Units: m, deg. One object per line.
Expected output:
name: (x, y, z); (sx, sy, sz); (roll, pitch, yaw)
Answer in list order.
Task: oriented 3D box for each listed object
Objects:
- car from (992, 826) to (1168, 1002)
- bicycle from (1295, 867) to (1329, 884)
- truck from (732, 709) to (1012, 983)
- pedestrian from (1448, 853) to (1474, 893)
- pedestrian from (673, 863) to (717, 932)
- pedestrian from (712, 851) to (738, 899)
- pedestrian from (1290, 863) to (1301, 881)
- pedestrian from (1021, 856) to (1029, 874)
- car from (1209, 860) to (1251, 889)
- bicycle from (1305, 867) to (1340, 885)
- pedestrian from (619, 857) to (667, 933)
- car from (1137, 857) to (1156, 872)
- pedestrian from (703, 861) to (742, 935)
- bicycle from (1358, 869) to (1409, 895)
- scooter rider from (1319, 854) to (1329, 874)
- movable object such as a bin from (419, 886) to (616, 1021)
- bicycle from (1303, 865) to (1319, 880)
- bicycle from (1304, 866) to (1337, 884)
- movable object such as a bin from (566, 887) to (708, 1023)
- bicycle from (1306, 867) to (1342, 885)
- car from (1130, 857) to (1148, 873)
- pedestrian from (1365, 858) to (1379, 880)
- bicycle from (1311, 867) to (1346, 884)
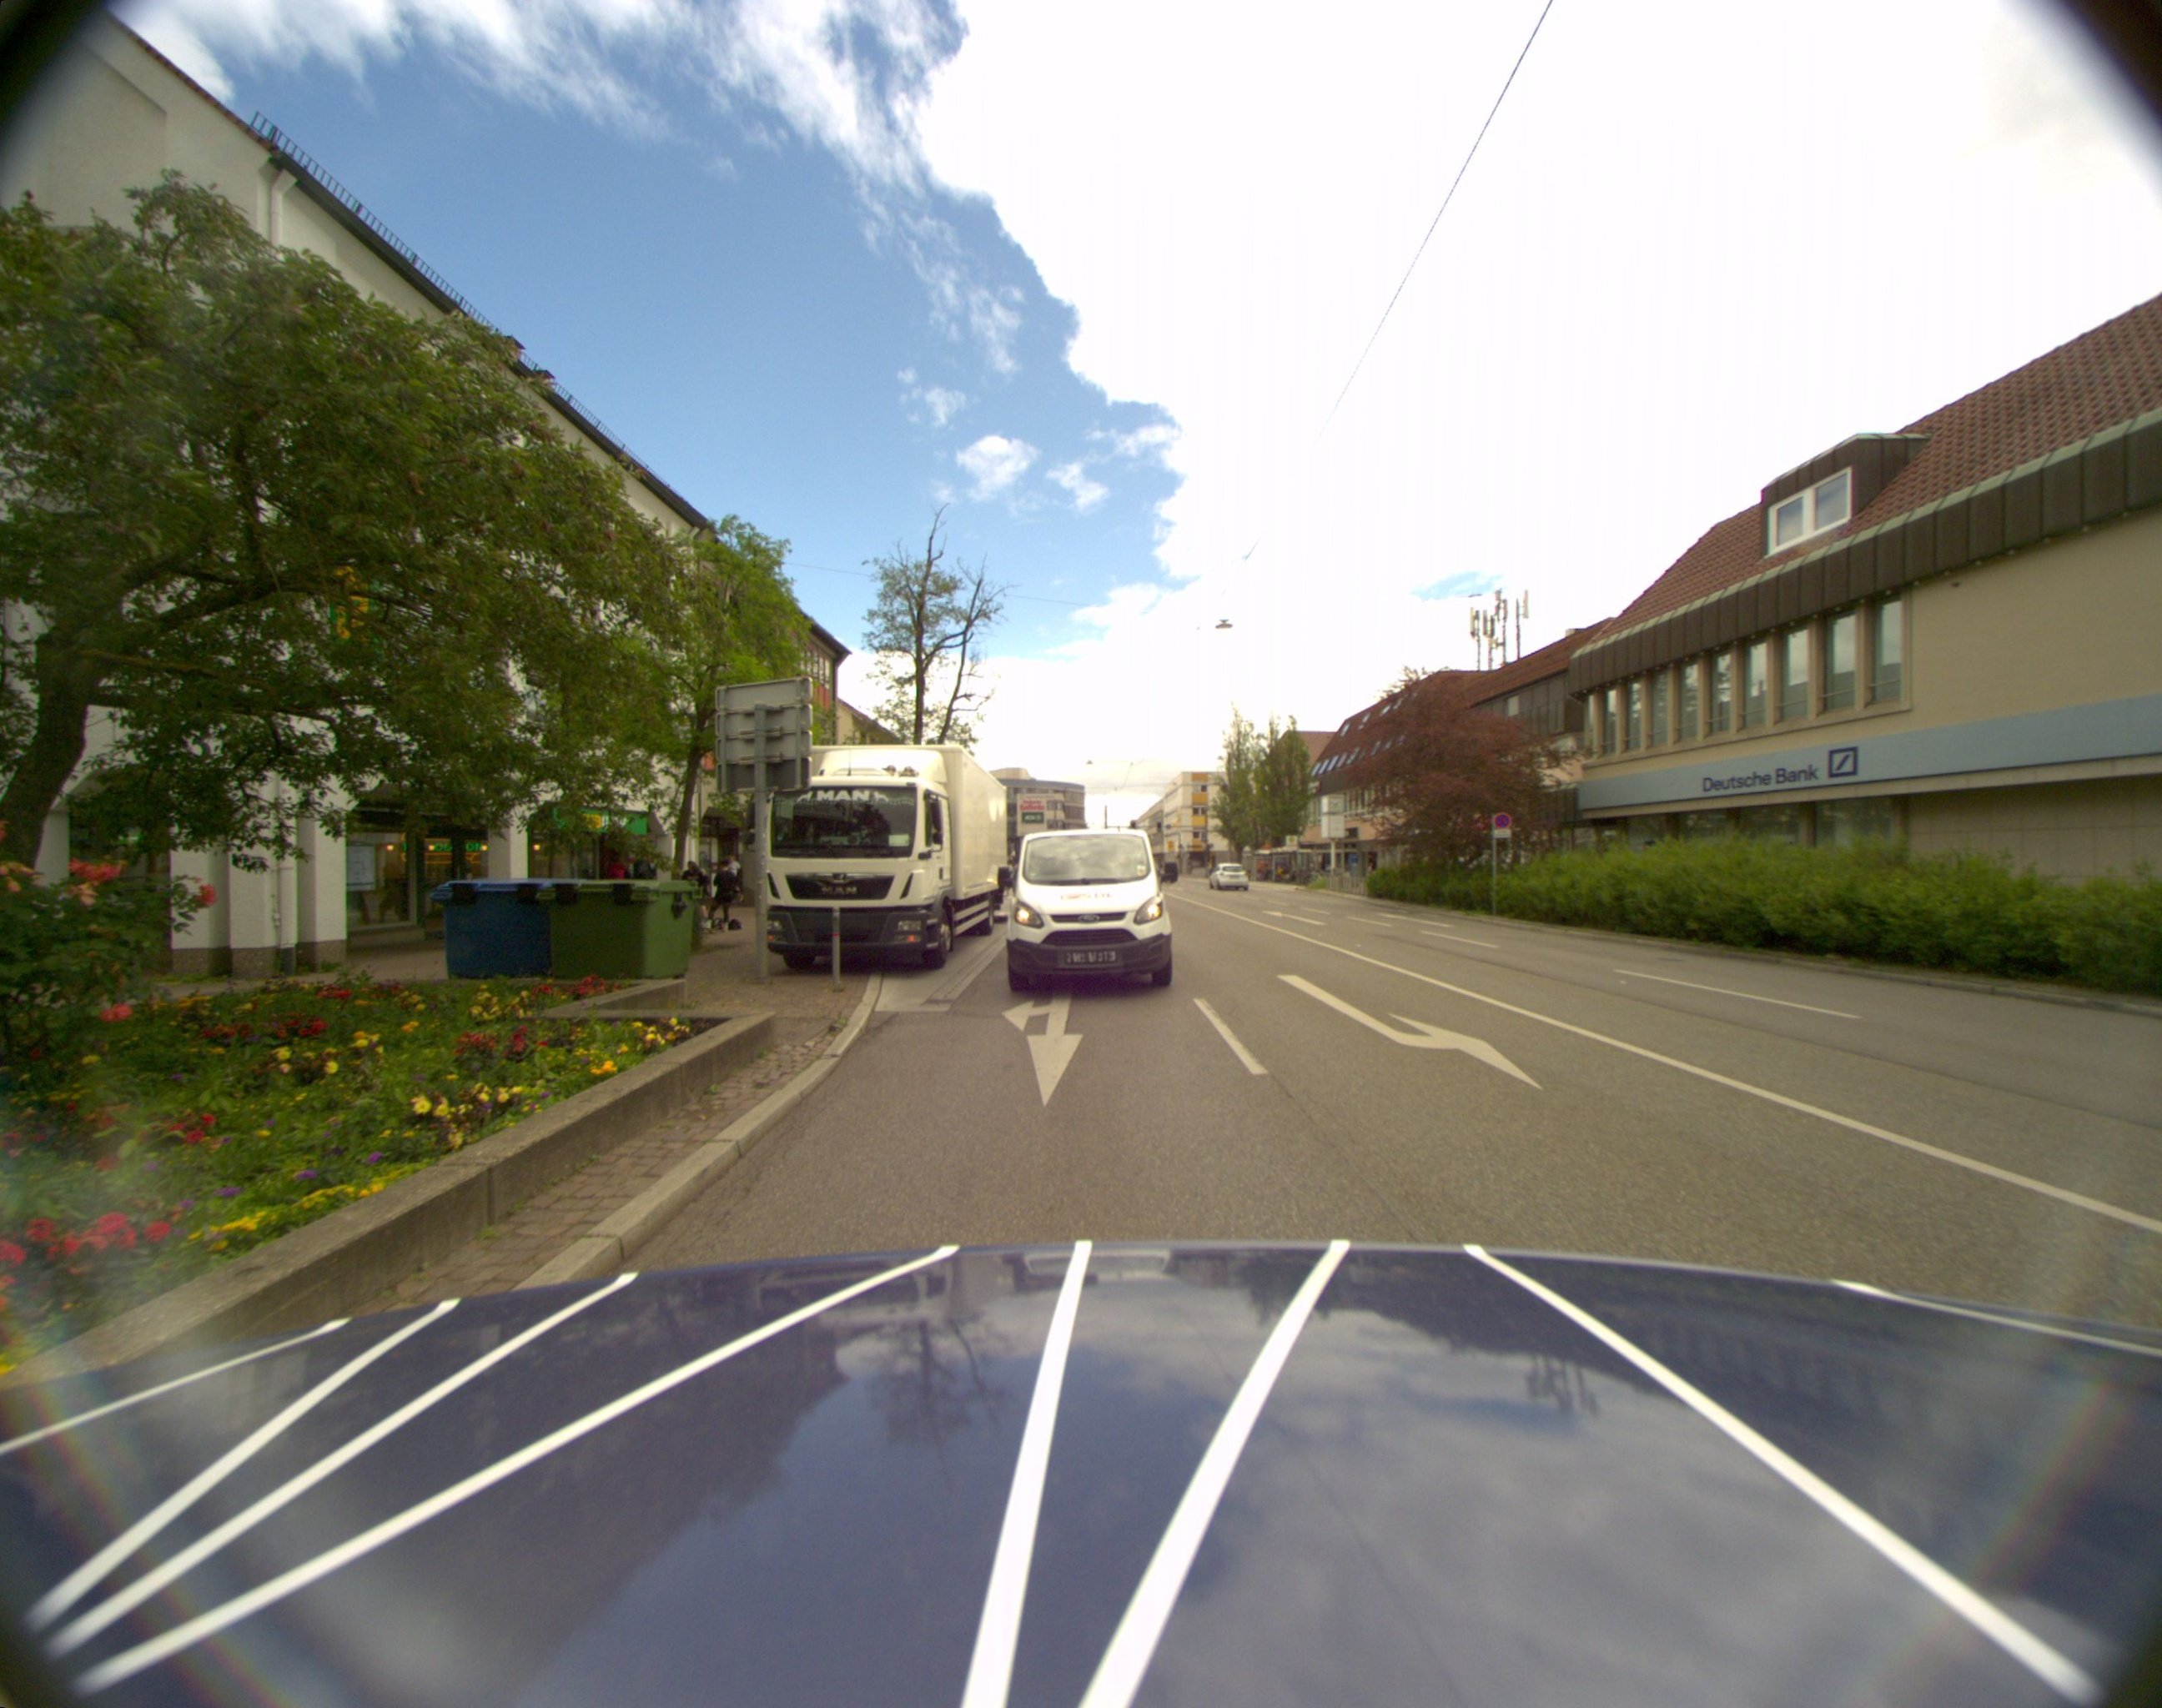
car: (0.128, 0.724, 11.252); (1.998, 2.001, 5.001); (-1, -1, 3)
bicycle: (15.307, 1.398, 50.386); (2.024, 1.084, 0.649); (0, 0, -5)
truck: (-3.157, -0.060, 14.745); (2.695, 3.540, 9.767); (0, 0, 0)
pedestrian: (17.470, 0.855, 34.970); (0.727, 1.753, 0.756); (-5, 0, 4)
pedestrian: (-9.044, 1.003, 17.828); (0.745, 1.592, 0.574); (0, 0, -3)
pedestrian: (-12.034, 0.707, 25.662); (0.747, 1.592, 0.573); (0, 0, -28)
pedestrian: (16.239, 1.351, 57.523); (0.713, 1.356, 0.588); (-1, -1, 2)
pedestrian: (-5.173, 1.045, 70.512); (0.613, 1.668, 0.615); (1, 0, 2)
car: (8.675, 1.183, 44.519); (1.644, 1.558, 3.927); (2, 0, 0)
bicycle: (15.272, 1.375, 48.124); (2.024, 1.084, 0.648); (0, 0, -9)
pedestrian: (-9.402, 0.863, 16.322); (0.574, 1.592, 0.746); (0, 0, 1)
car: (8.251, 1.329, 96.586); (2.074, 1.728, 4.693); (2, 0, 1)
pedestrian: (-7.952, 0.955, 16.859); (0.747, 1.592, 0.573); (0, 0, -28)
bicycle: (13.164, 1.217, 33.079); (2.024, 1.084, 0.648); (0, 0, -9)
scooter rider: (21.672, 0.906, 67.764); (0.615, 1.702, 0.588); (-3, 0, -3)
movable object such as a bin: (-6.201, 1.045, 8.480); (1.146, 1.331, 1.376); (0, 0, 2)
bicycle: (17.062, 1.389, 56.351); (0.535, 1.084, 1.930); (-1, 0, -2)
bicycle: (15.547, 1.354, 49.331); (2.024, 1.084, 0.648); (0, 0, -9)
movable object such as a bin: (-4.777, 1.049, 8.262); (0.883, 1.331, 1.085); (0, 0, 2)
bicycle: (14.889, 1.353, 46.540); (2.024, 1.084, 0.648); (0, 0, -9)
car: (5.864, 1.133, 76.503); (1.573, 1.531, 2.963); (1, -1, 7)
pedestrian: (20.752, 1.079, 54.172); (0.713, 1.538, 0.588); (-1, -1, -1)
bicycle: (15.452, 1.337, 47.429); (2.024, 1.084, 0.648); (0, 0, -9)
